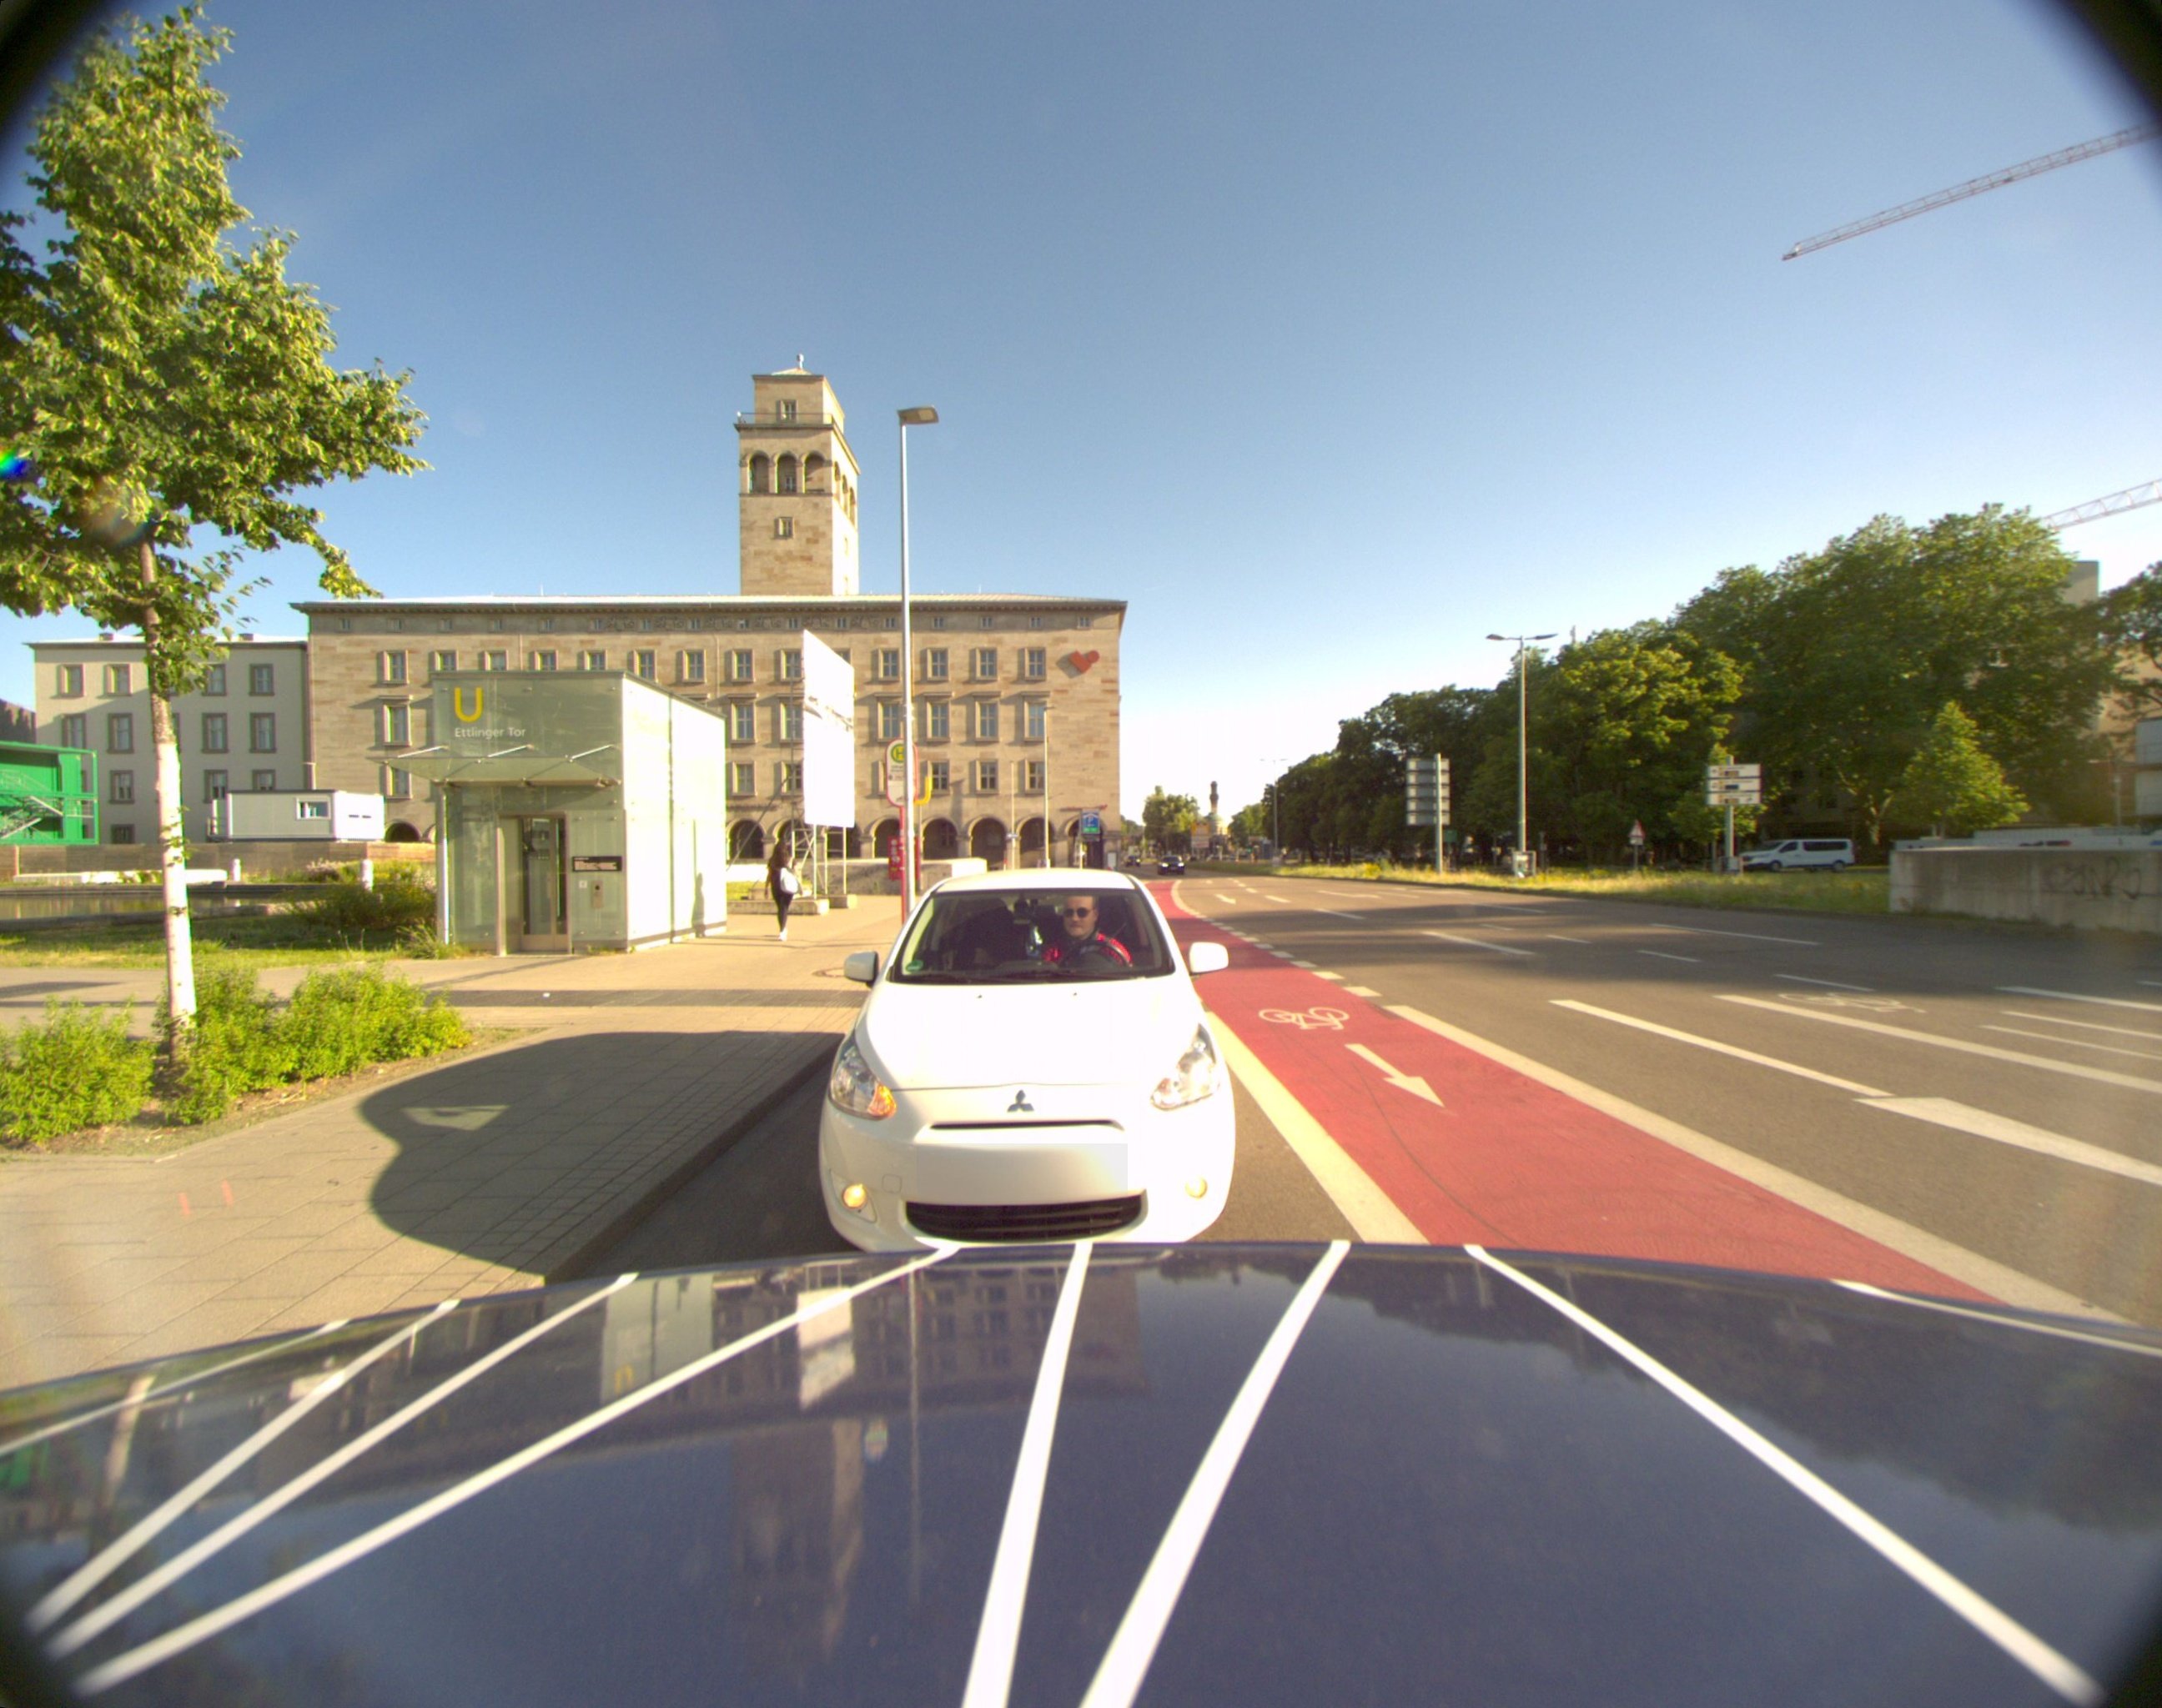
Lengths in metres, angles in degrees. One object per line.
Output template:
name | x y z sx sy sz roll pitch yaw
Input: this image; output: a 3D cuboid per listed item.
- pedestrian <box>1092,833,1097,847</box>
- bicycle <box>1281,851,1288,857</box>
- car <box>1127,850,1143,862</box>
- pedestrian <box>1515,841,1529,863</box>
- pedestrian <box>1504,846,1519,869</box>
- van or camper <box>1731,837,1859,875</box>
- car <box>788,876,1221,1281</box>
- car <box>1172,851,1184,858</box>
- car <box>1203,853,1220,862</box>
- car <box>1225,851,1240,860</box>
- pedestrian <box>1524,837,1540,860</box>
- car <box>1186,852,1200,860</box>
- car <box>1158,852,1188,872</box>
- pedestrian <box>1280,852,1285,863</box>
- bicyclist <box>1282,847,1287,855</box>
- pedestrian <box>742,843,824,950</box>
pedestrian | 1.768 -1.843 100.128 0.704 1.843 0.828 -1 1 0
bicycle | 31.452 -0.005 117.564 0.610 0.838 1.745 -1 0 -1
car | 7.900 0.233 110.701 1.998 1.709 4.325 -1 0 0
pedestrian | 33.672 -0.146 58.041 0.665 1.715 0.762 -1 1 1
pedestrian | 33.046 0.262 58.317 0.707 1.715 0.762 -1 1 1
van or camper | 42.304 0.111 45.088 5.649 2.002 1.948 -2 1 2
car | -0.263 0.961 4.976 1.678 1.440 3.889 -2 0 1
car | 19.717 0.006 154.609 1.873 1.390 3.999 -1 0 -2
car | 20.525 0.522 119.385 1.872 1.390 3.999 -1 0 -1
car | 26.081 0.271 130.858 1.998 1.499 4.000 -1 0 2
pedestrian | 34.322 -0.392 57.829 0.707 1.715 0.762 -1 1 1
car | 19.921 0.350 135.430 1.873 1.390 3.999 -1 0 -2
car | 7.846 0.672 65.294 1.937 1.634 4.616 -1 0 -1
pedestrian | 33.074 0.561 124.572 0.627 1.837 0.926 -1 1 8
bicyclist | 31.448 -0.420 117.556 0.610 1.274 0.715 -1 1 -1
pedestrian | -5.239 0.727 13.426 0.942 1.776 1.072 3 1 1
